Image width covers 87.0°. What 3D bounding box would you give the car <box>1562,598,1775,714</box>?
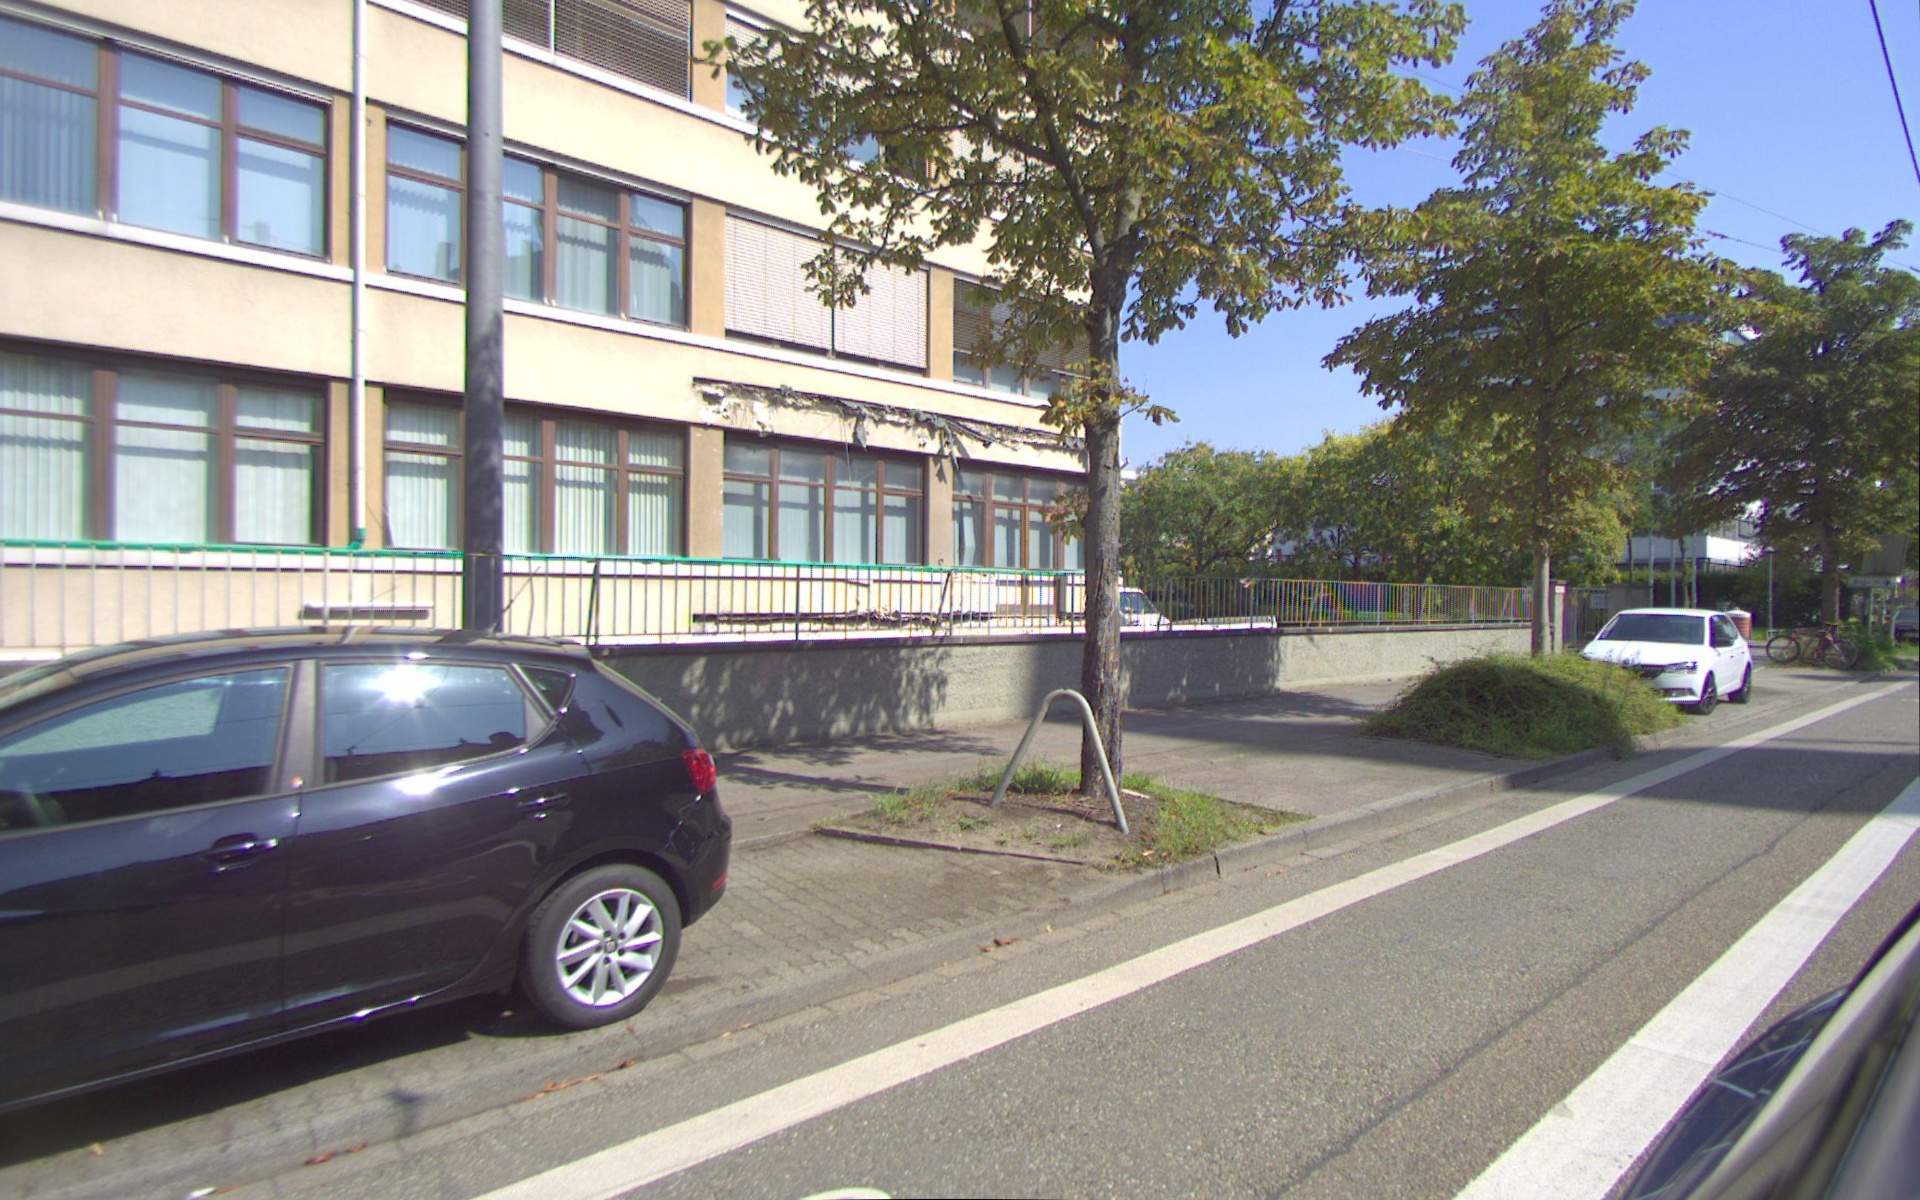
[{"bbox_3d":[10.837,0.735,15.374,4.142,1.500,1.662,0,1,-40],"label":"car"}]

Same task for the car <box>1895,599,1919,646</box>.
[{"bbox_3d":[33.896,0.762,35.085,4.530,1.534,1.758,0,1,-42],"label":"car"}]

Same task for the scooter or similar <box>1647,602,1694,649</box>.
[{"bbox_3d":[19.642,0.683,27.967,1.784,1.275,0.557,0,-1,-38],"label":"scooter or similar"}]

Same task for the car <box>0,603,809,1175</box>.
[{"bbox_3d":[-2.727,0.745,3.443,4.142,1.425,1.662,0,1,-40],"label":"car"}]

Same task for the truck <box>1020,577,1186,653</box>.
[{"bbox_3d":[4.700,0.472,34.084,2.257,2.355,5.519,0,-1,-38],"label":"truck"}]

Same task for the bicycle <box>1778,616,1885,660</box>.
[{"bbox_3d":[20.293,0.869,23.601,0.548,0.970,1.815,1,-1,-40],"label":"bicycle"}]
